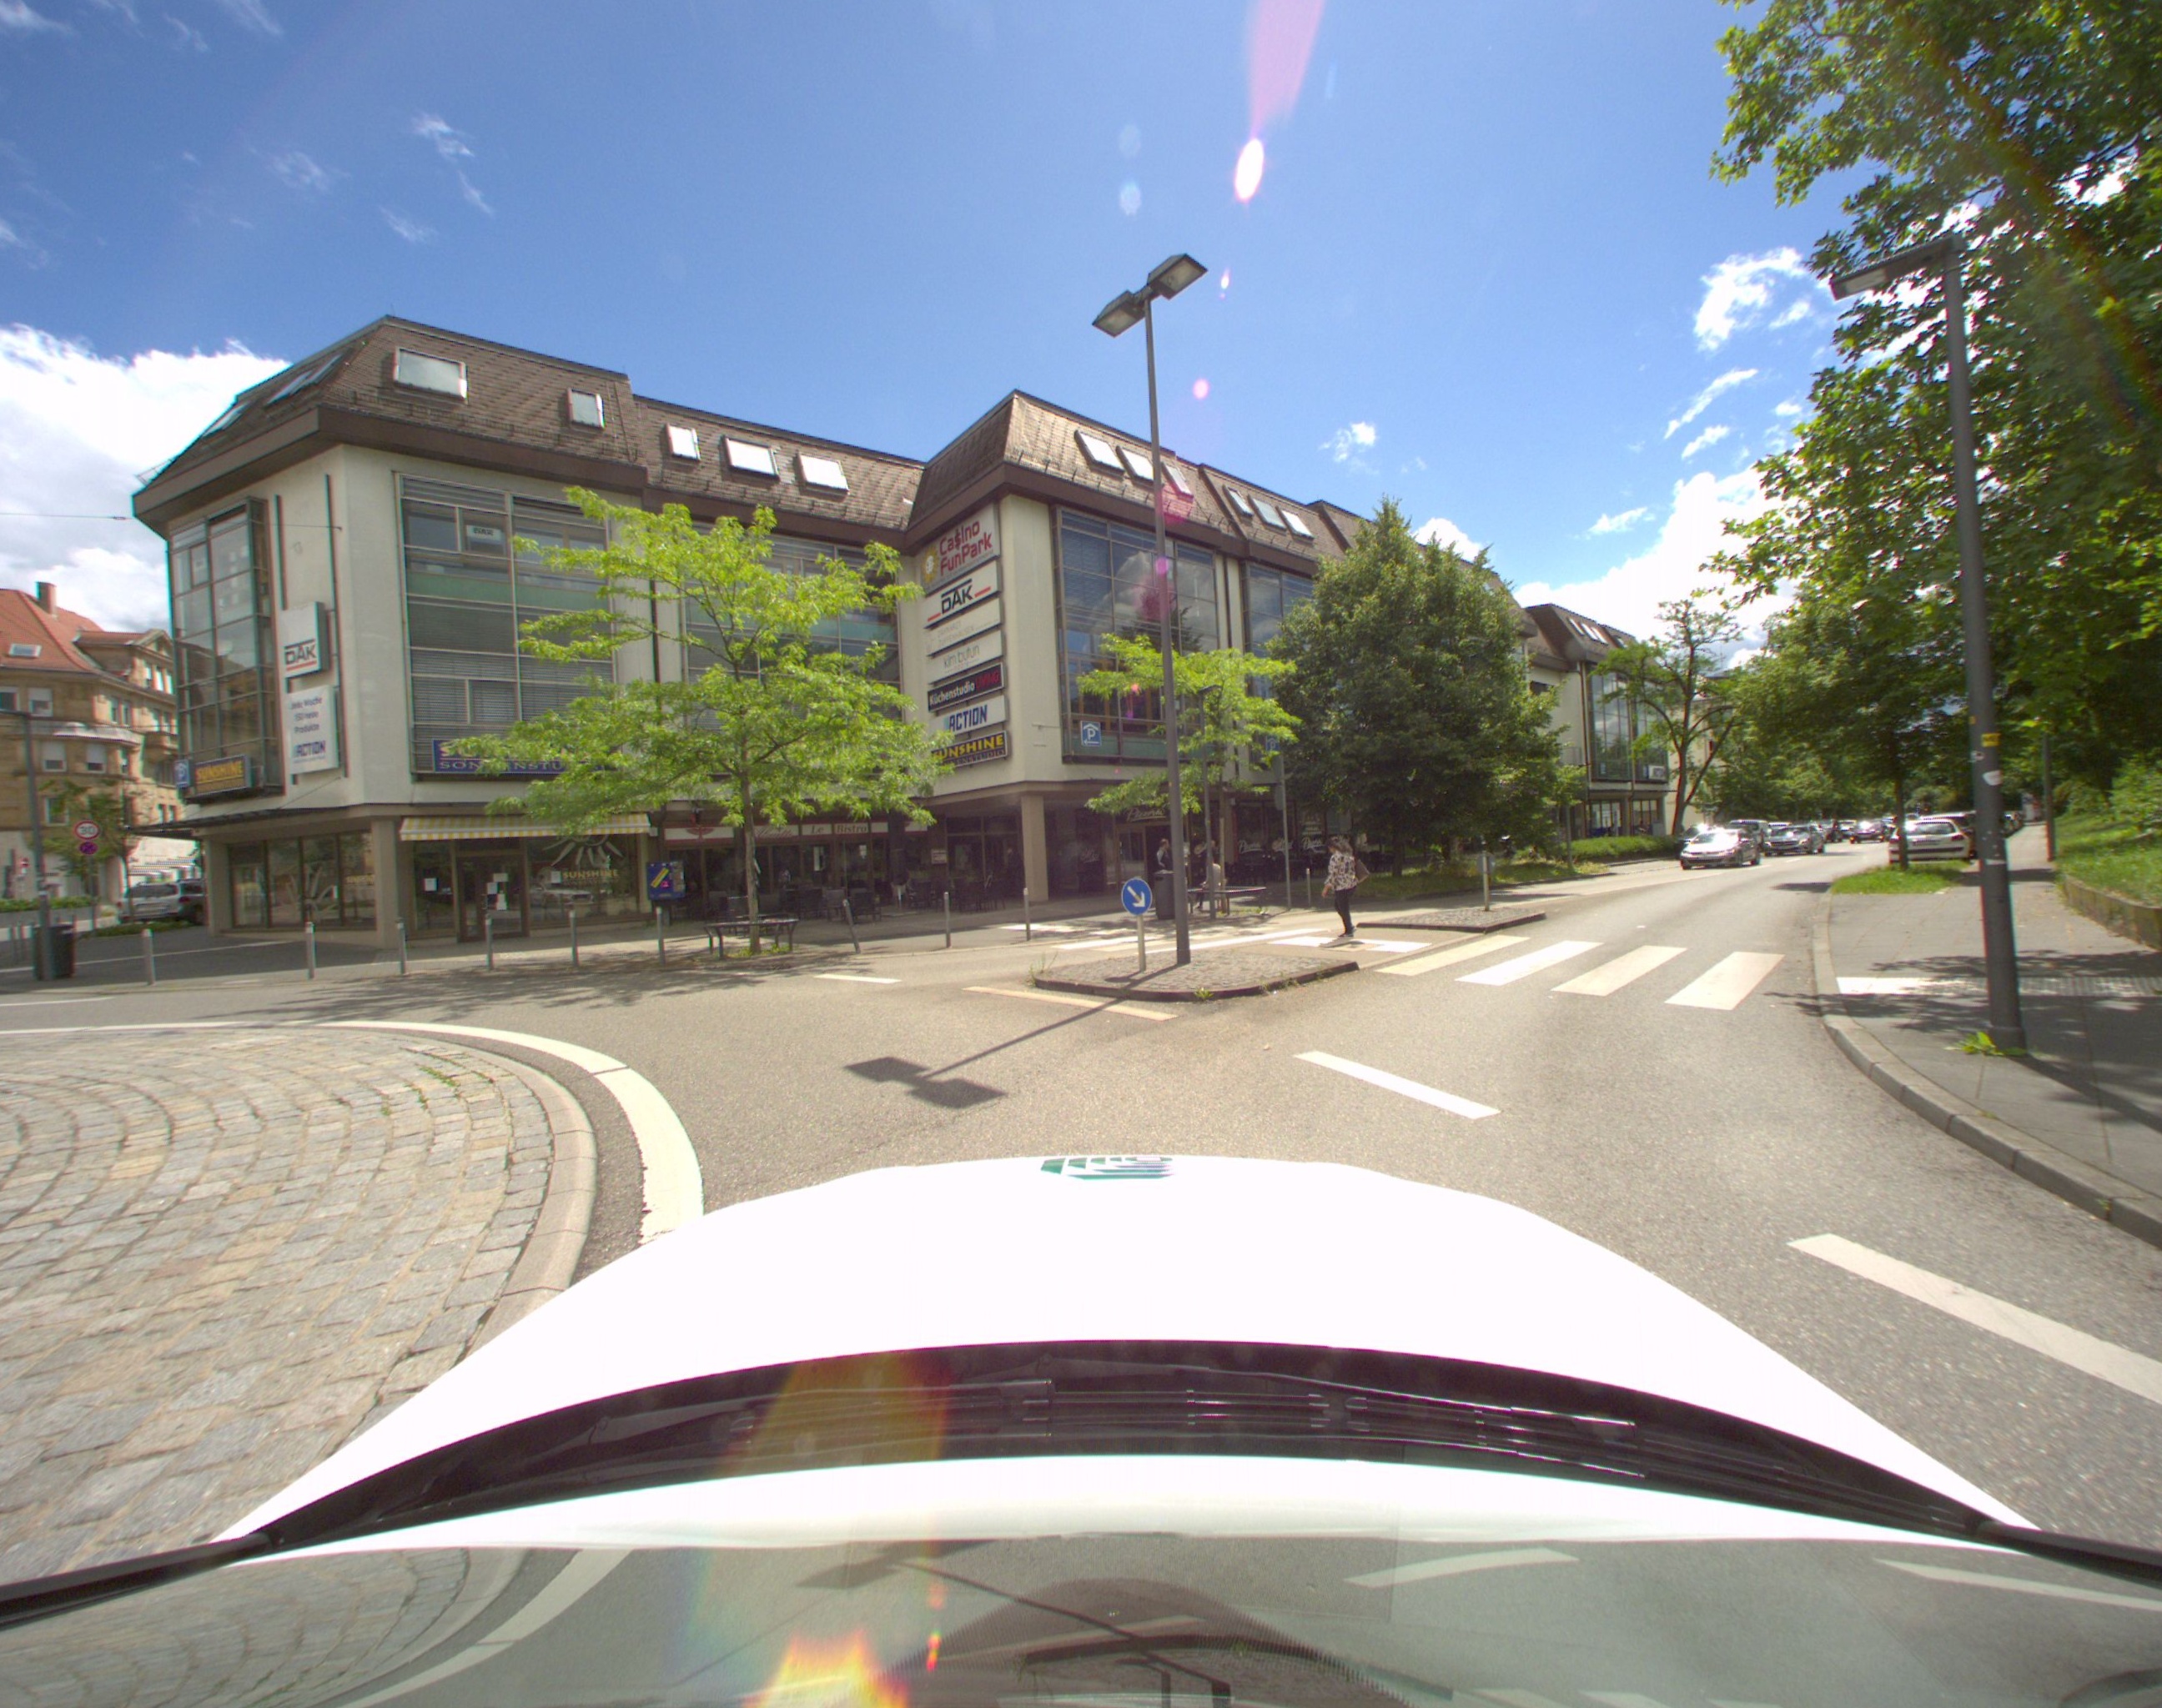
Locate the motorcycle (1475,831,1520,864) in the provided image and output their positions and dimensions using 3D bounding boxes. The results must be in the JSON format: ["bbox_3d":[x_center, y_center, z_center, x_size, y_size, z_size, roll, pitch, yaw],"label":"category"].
[{"bbox_3d":[18.092,-0.284,35.365,2.197,1.291,0.848,-3,0,-39],"label":"motorcycle"}]

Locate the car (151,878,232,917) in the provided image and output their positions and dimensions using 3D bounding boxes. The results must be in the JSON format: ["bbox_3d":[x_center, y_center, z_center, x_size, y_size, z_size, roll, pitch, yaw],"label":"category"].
[{"bbox_3d":[-42.504,2.049,39.028,1.838,1.707,4.390,-1,-1,-37],"label":"car"}]

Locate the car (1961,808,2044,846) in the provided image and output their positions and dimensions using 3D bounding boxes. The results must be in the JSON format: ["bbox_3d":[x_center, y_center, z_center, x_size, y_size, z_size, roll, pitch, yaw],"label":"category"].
[{"bbox_3d":[40.152,-1.185,35.456,4.017,1.486,1.914,-2,0,-35],"label":"car"}]

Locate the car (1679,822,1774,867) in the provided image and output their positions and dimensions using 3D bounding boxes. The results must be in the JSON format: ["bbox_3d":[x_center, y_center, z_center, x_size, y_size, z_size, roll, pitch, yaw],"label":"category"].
[{"bbox_3d":[24.561,-0.376,30.935,4.610,1.508,1.976,-2,-1,-42],"label":"car"}]

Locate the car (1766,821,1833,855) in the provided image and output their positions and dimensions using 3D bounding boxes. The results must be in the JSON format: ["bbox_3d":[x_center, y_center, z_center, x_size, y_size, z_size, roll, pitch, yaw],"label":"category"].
[{"bbox_3d":[35.373,-0.797,40.051,4.611,1.508,1.975,-2,-1,-43],"label":"car"}]

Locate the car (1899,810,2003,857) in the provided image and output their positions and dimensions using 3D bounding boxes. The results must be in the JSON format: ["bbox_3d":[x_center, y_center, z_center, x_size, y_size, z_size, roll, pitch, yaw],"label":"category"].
[{"bbox_3d":[30.661,-0.735,28.672,4.017,1.486,1.914,-2,0,-35],"label":"car"}]

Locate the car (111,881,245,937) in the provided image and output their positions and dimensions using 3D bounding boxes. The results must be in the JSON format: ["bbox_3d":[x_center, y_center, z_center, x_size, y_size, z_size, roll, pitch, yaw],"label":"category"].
[{"bbox_3d":[-32.984,1.930,29.916,1.835,1.730,4.195,-4,1,-27],"label":"car"}]

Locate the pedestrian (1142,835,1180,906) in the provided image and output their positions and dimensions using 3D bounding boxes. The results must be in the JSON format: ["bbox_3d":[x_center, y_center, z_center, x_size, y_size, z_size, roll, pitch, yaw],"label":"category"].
[{"bbox_3d":[2.088,0.426,21.312,0.620,1.818,0.690,-3,1,-36],"label":"pedestrian"}]

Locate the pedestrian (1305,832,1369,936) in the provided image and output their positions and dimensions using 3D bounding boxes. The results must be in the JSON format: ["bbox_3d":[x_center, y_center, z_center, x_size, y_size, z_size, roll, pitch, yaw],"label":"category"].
[{"bbox_3d":[3.965,0.449,12.648,0.759,1.553,0.781,-2,0,6],"label":"pedestrian"}]

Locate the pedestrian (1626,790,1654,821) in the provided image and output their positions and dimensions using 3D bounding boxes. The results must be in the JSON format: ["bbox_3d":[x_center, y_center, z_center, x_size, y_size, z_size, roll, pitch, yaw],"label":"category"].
[{"bbox_3d":[39.421,-3.391,57.419,1.094,2.014,1.332,-1,-2,-43],"label":"pedestrian"}]

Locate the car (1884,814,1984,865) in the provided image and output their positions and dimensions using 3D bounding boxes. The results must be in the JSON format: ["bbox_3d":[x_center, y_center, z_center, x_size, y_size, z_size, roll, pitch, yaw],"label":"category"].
[{"bbox_3d":[26.394,-0.457,25.166,4.020,1.330,1.737,-3,-3,-39],"label":"car"}]

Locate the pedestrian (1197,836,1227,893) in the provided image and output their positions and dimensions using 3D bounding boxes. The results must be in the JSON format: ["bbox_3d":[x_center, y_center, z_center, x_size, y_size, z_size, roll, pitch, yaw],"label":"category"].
[{"bbox_3d":[3.967,0.315,24.650,0.609,1.674,0.702,-2,0,35],"label":"pedestrian"}]

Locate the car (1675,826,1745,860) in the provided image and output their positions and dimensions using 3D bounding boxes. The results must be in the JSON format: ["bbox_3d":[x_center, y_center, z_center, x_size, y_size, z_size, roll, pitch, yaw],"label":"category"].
[{"bbox_3d":[30.491,-0.540,39.437,4.611,1.508,1.975,-2,0,-43],"label":"car"}]

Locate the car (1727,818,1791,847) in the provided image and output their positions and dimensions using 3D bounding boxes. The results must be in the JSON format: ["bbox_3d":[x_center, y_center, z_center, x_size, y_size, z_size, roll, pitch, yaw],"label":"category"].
[{"bbox_3d":[38.973,-1.259,46.789,4.608,1.508,1.977,-2,0,-39],"label":"car"}]

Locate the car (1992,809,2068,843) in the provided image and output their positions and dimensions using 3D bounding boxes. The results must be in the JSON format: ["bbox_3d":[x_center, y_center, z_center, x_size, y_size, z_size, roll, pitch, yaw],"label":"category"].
[{"bbox_3d":[44.989,-1.349,38.603,4.017,1.486,1.914,-2,0,-35],"label":"car"}]

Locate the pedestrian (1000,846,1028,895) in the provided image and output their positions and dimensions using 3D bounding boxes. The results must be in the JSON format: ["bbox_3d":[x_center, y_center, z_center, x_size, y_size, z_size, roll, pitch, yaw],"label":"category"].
[{"bbox_3d":[-2.332,0.565,28.351,0.702,1.674,0.610,-2,0,-42],"label":"pedestrian"}]

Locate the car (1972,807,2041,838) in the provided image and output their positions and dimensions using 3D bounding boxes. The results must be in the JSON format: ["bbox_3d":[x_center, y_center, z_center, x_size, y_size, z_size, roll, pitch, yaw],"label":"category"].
[{"bbox_3d":[48.866,-1.664,42.982,4.017,1.486,1.914,-2,0,-35],"label":"car"}]

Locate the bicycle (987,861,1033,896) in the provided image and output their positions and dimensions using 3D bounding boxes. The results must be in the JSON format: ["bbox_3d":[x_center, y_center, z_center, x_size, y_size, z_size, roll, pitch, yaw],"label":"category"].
[{"bbox_3d":[-2.471,0.859,28.400,1.532,1.168,0.496,-2,-1,2],"label":"bicycle"}]

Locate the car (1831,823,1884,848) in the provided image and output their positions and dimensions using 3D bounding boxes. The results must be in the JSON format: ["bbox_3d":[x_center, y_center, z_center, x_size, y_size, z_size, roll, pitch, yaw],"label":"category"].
[{"bbox_3d":[49.774,-1.192,52.156,4.609,1.508,1.976,-2,0,-41],"label":"car"}]

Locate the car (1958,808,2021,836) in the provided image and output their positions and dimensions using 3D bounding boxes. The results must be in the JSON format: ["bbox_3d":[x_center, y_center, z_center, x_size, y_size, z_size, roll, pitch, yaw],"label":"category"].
[{"bbox_3d":[52.145,-1.826,46.741,4.017,1.486,1.914,-2,0,-35],"label":"car"}]

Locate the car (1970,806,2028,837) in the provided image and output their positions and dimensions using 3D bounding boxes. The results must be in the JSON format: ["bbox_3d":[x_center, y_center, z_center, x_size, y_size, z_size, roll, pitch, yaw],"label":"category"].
[{"bbox_3d":[57.212,-2.037,50.744,4.017,1.803,1.914,-2,0,-35],"label":"car"}]

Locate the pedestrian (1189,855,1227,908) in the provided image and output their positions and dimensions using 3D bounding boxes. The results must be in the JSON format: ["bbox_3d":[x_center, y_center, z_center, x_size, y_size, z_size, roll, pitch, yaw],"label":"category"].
[{"bbox_3d":[3.154,0.678,20.273,0.619,1.285,0.691,-2,0,-29],"label":"pedestrian"}]

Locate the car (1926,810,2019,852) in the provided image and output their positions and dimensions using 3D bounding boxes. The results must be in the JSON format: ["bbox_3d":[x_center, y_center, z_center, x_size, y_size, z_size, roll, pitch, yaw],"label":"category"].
[{"bbox_3d":[34.951,-0.901,31.914,4.017,1.486,1.914,-3,1,-35],"label":"car"}]
